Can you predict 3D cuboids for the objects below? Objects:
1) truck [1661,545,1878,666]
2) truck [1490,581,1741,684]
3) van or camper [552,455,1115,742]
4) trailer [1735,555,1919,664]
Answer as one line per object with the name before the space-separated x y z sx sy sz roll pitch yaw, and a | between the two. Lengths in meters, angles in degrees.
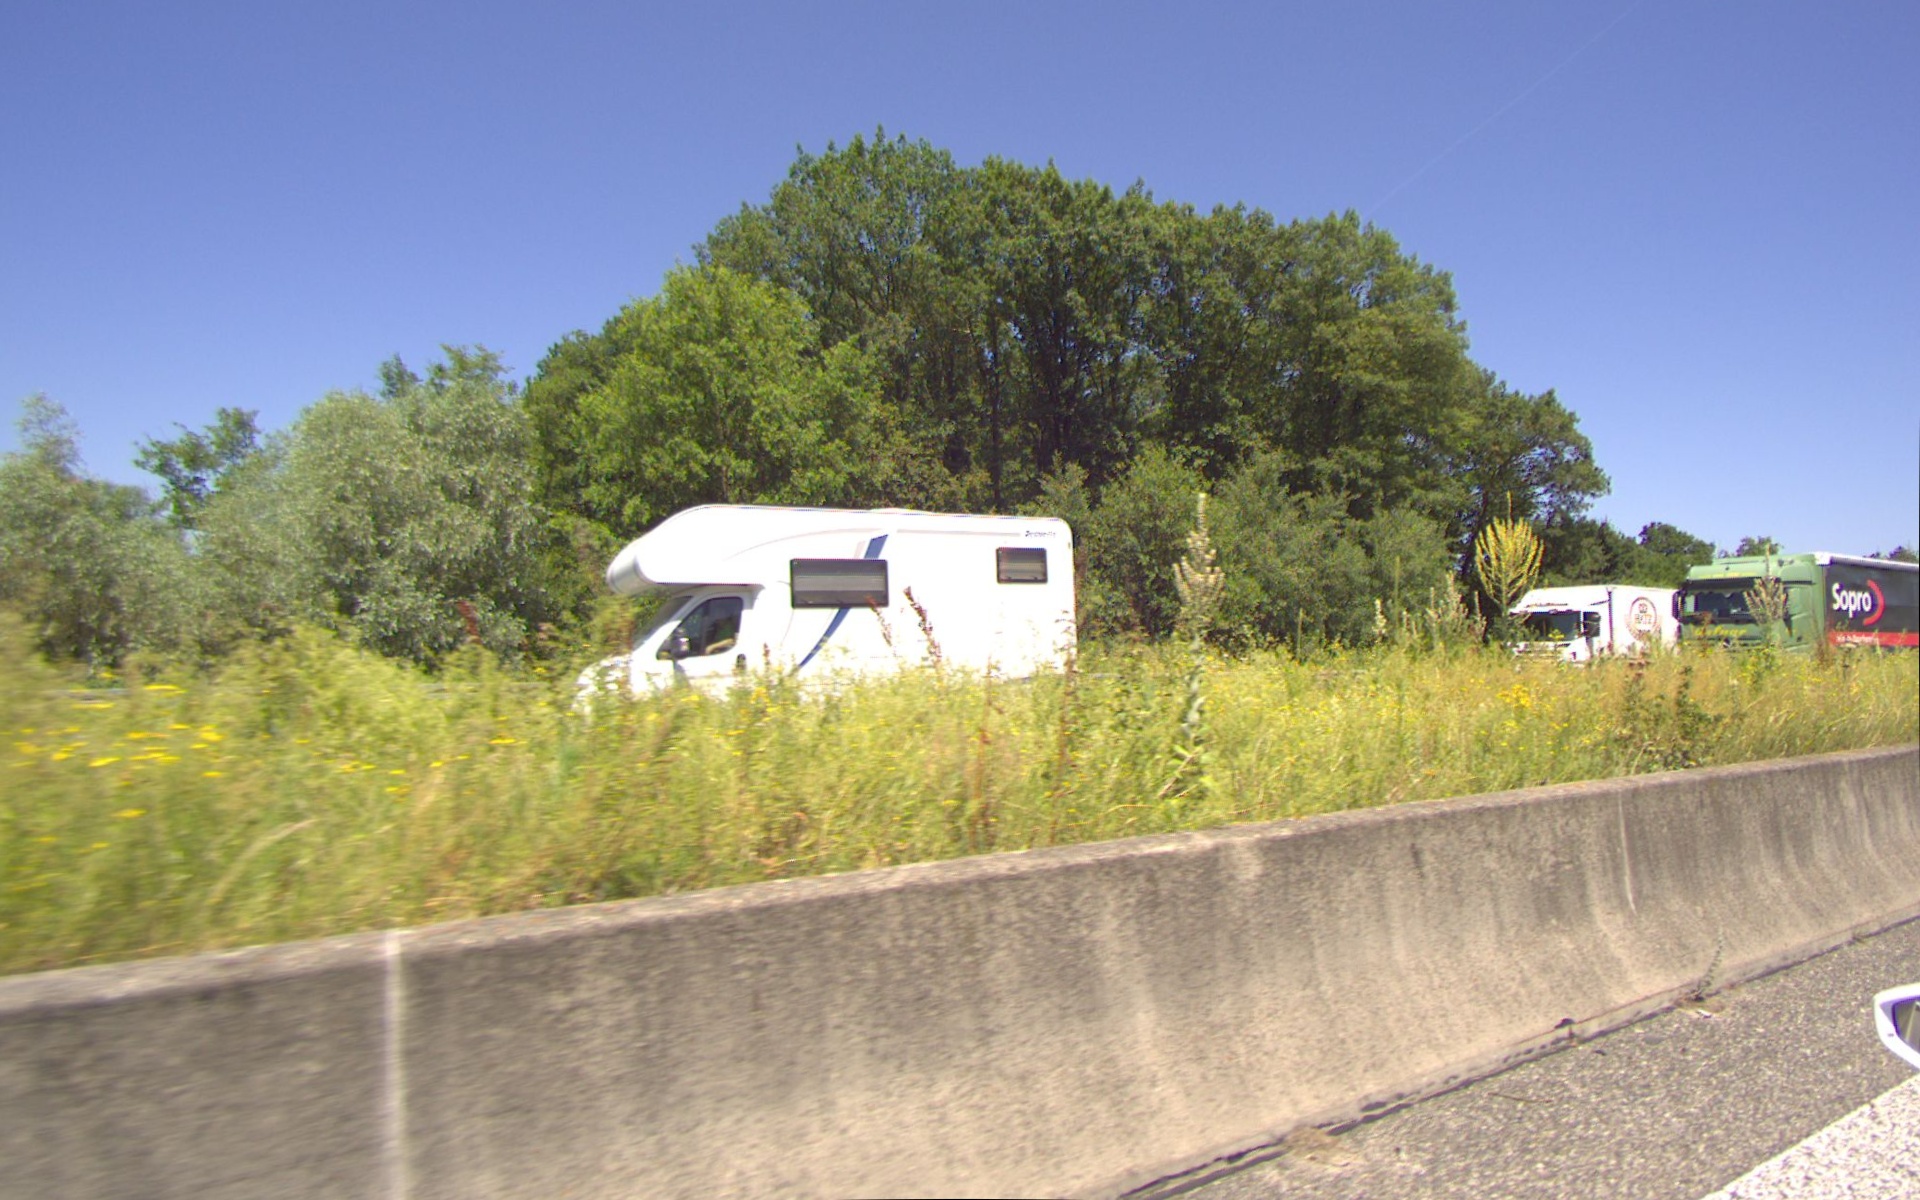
truck | 22.919 0.243 28.355 6.892 3.048 2.594 2 -1 -31
truck | 21.720 1.084 32.992 10.365 2.981 2.674 2 -1 -31
van or camper | -1.565 0.061 14.102 7.443 3.197 2.496 1 0 -30
trailer | 29.840 0.448 32.559 14.070 3.008 2.629 2 -1 -31
